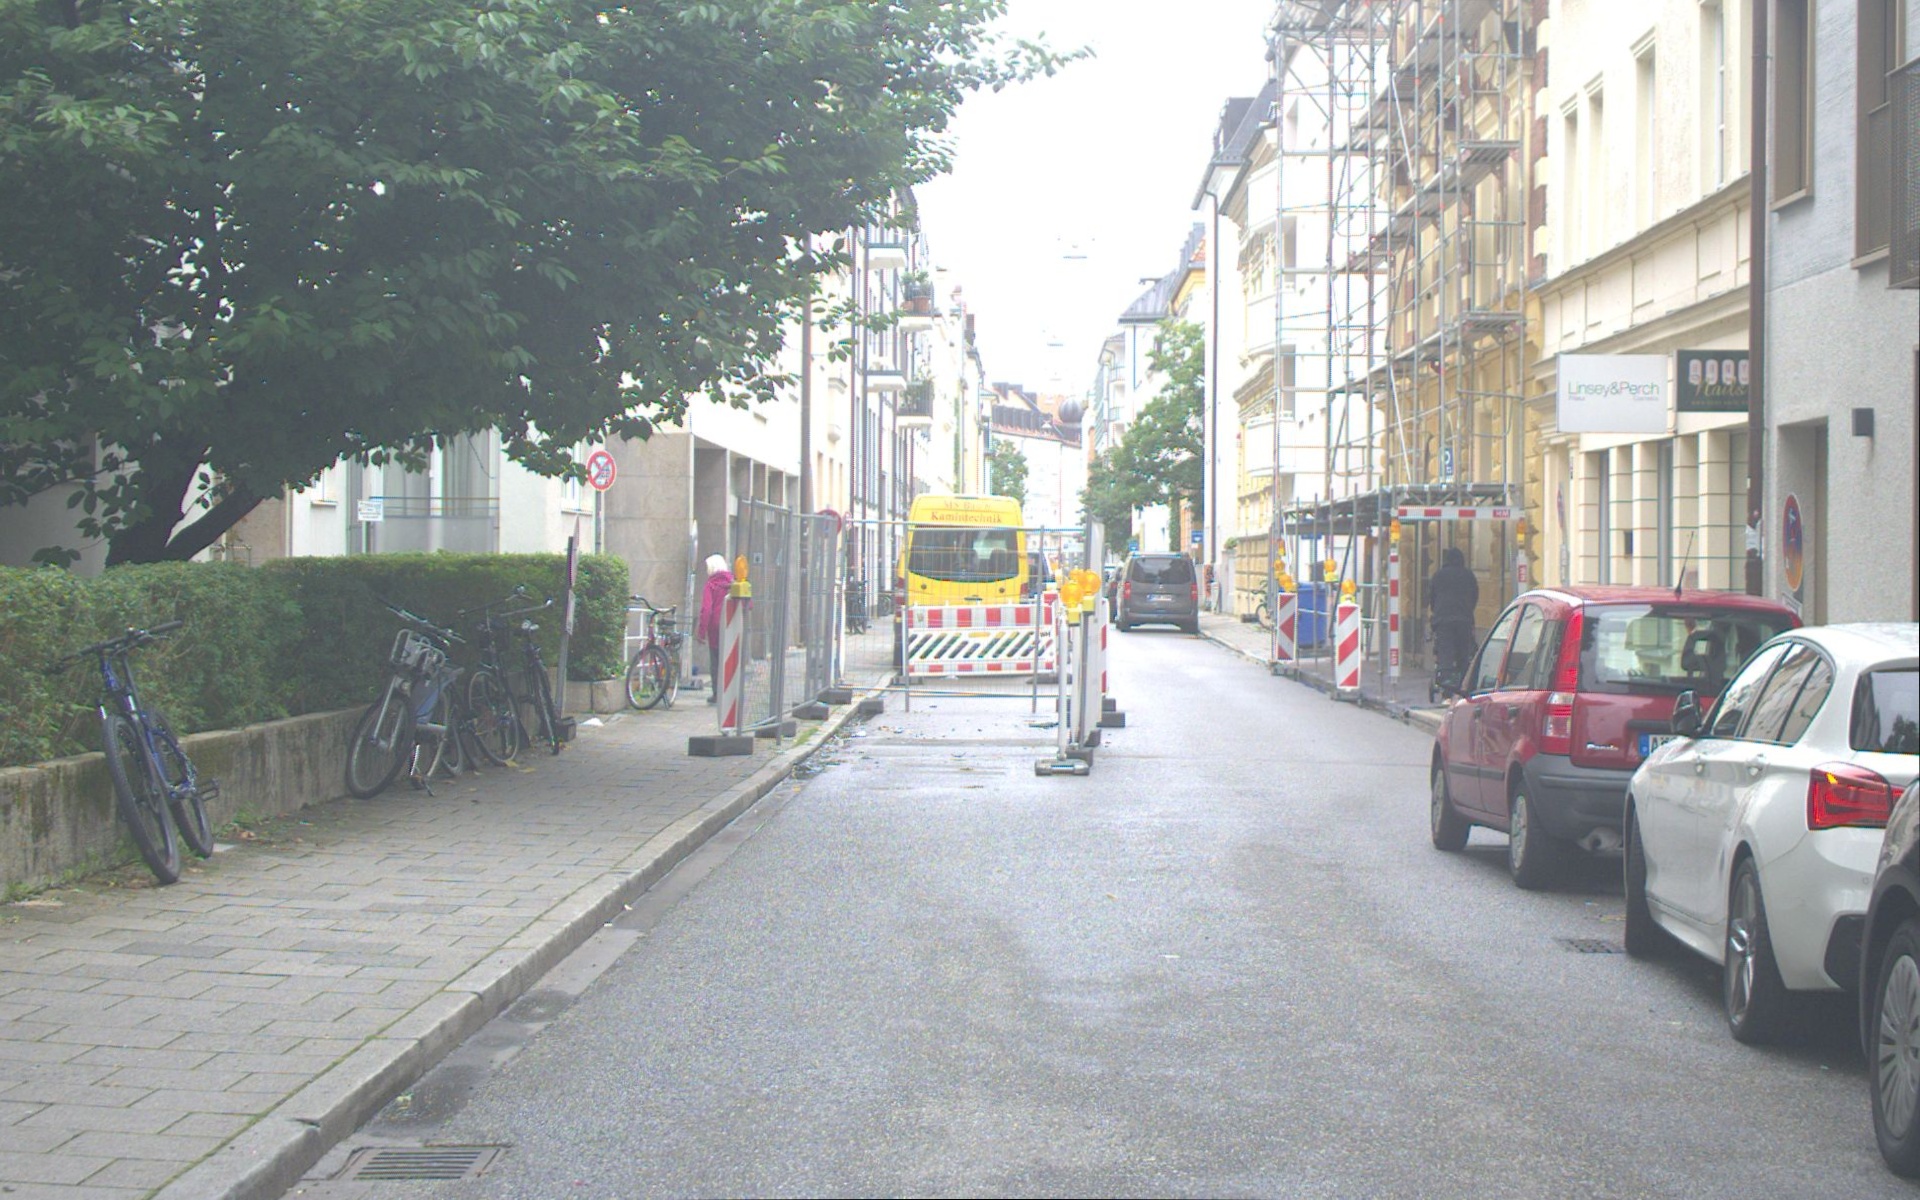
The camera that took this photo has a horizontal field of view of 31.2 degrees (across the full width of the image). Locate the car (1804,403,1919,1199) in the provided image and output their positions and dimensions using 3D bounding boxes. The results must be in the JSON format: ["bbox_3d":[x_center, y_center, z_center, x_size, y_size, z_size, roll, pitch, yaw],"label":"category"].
[{"bbox_3d":[3.394,0.550,6.967,1.990,1.970,4.885,2,1,-1],"label":"car"}]

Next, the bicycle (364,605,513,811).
[{"bbox_3d":[-3.090,0.625,20.495,0.488,1.147,1.698,4,0,2],"label":"bicycle"}]

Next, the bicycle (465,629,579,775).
[{"bbox_3d":[-3.109,0.707,24.524,0.443,0.975,1.853,4,0,2],"label":"bicycle"}]

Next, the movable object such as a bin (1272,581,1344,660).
[{"bbox_3d":[6.298,0.364,62.173,1.087,1.342,1.316,-2,0,14],"label":"movable object such as a bin"}]

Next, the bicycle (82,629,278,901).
[{"bbox_3d":[-3.388,0.687,15.044,0.347,1.068,1.780,4,1,1],"label":"bicycle"}]

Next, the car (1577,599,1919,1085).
[{"bbox_3d":[3.523,0.780,12.862,1.768,1.456,4.380,2,1,3],"label":"car"}]

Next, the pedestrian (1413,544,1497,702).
[{"bbox_3d":[5.678,0.256,39.485,0.729,1.746,0.988,-3,0,1],"label":"pedestrian"}]

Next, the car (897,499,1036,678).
[{"bbox_3d":[0.115,-0.198,52.713,1.993,2.570,6.737,0,1,0],"label":"car"}]

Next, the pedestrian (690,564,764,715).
[{"bbox_3d":[-2.401,0.398,35.448,0.638,1.527,0.747,-1,0,3],"label":"pedestrian"}]

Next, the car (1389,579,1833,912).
[{"bbox_3d":[3.385,0.687,18.587,1.772,1.519,4.066,2,1,3],"label":"car"}]

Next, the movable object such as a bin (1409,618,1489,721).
[{"bbox_3d":[5.715,0.806,40.238,0.729,1.137,0.988,-4,0,0],"label":"movable object such as a bin"}]

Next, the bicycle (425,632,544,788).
[{"bbox_3d":[-3.162,0.713,22.964,0.436,0.975,1.698,4,0,2],"label":"bicycle"}]

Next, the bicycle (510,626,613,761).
[{"bbox_3d":[-3.045,0.702,26.389,0.443,0.975,1.816,4,0,2],"label":"bicycle"}]

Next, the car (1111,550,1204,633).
[{"bbox_3d":[4.832,-0.239,84.637,1.993,1.925,4.660,2,1,0],"label":"car"}]

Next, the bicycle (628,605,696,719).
[{"bbox_3d":[-2.966,0.608,34.331,0.377,1.059,1.597,6,1,2],"label":"bicycle"}]

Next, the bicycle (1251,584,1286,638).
[{"bbox_3d":[6.961,0.247,77.676,0.638,1.149,1.915,-2,1,2],"label":"bicycle"}]
